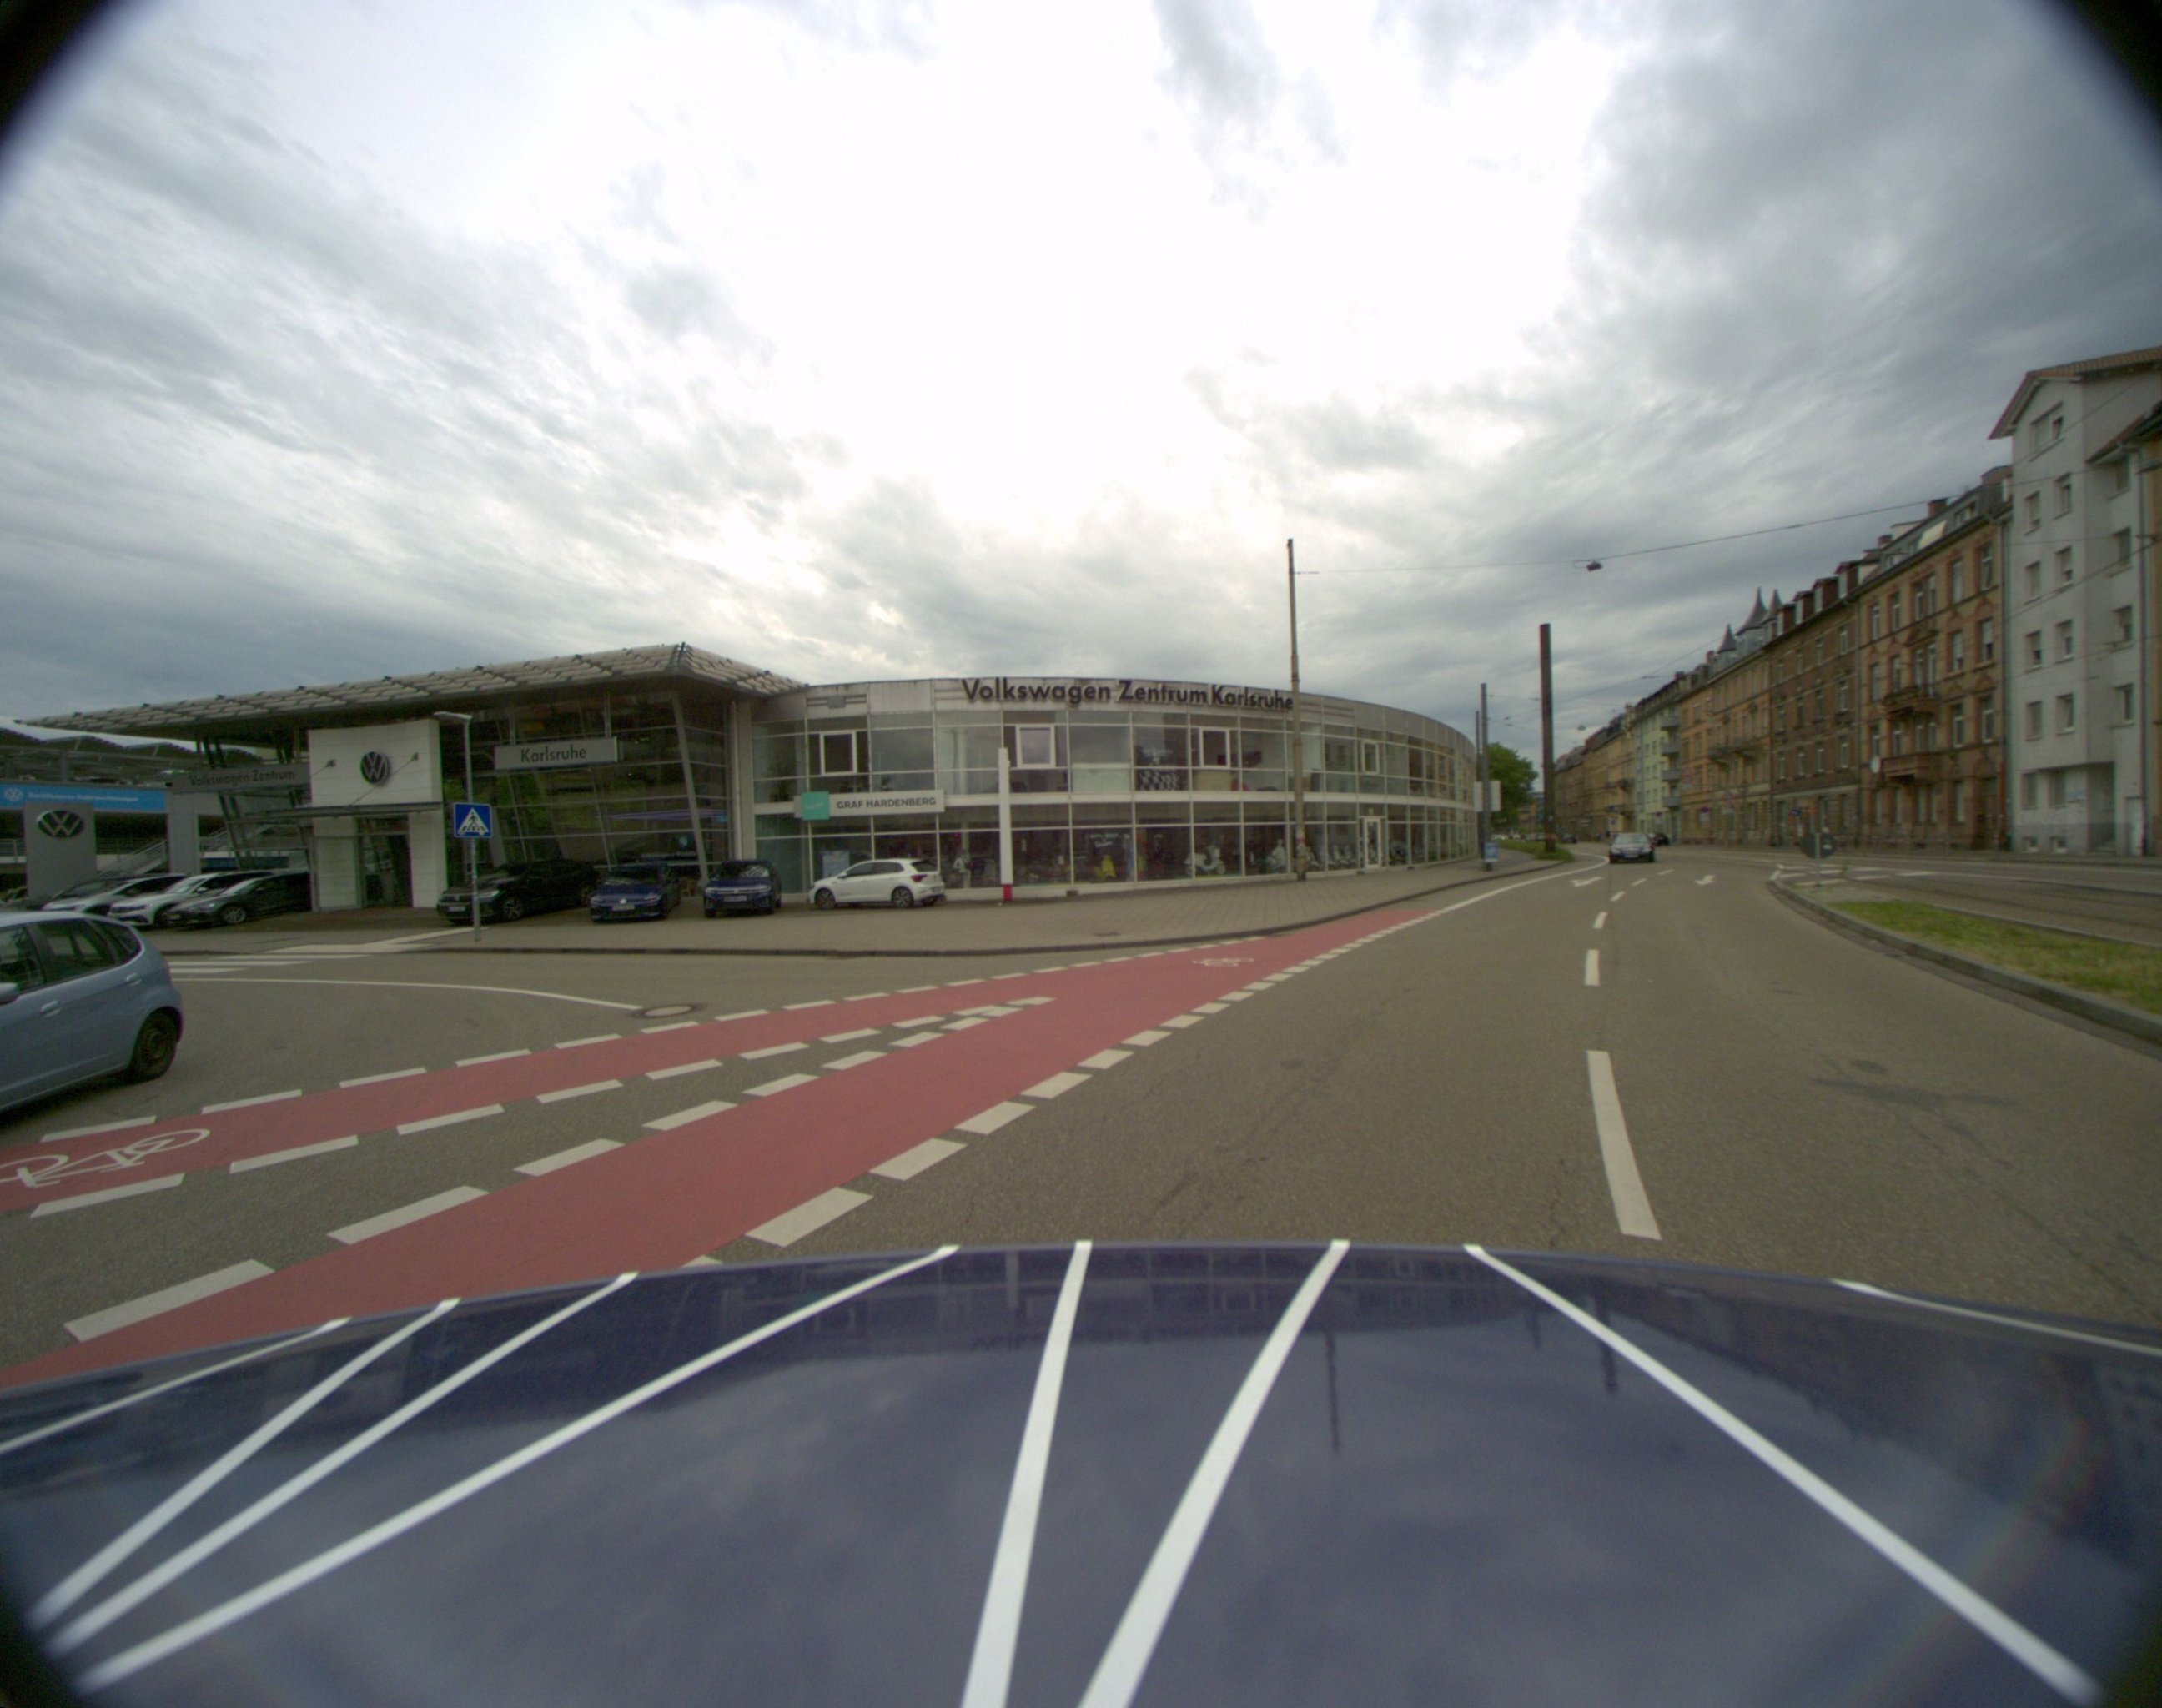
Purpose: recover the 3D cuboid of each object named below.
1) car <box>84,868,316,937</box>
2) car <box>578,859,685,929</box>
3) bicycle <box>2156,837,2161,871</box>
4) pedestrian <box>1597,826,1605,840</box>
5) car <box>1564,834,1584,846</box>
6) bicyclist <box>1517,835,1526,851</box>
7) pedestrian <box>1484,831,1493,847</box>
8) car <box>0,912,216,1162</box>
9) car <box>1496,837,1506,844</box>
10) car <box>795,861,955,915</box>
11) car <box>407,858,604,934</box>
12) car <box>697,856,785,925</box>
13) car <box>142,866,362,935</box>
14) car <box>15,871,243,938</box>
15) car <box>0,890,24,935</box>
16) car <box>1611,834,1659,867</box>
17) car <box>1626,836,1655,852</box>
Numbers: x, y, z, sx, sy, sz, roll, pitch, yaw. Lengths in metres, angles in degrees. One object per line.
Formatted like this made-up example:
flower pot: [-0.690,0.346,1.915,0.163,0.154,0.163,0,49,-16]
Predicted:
car: [-30.127,1.587,26.264,1.858,1.690,4.777,-2,4,14]
car: [-12.759,1.047,21.842,1.860,1.496,4.329,-2,4,-21]
bicycle: [29.438,0.012,19.923,0.606,0.910,1.722,-2,1,22]
pedestrian: [74.333,-3.004,108.573,0.809,2.002,0.701,-1,1,27]
car: [65.365,-1.865,100.851,1.799,1.630,4.237,-1,1,27]
bicyclist: [49.366,-1.213,85.144,0.729,1.747,0.912,-1,1,32]
pedestrian: [46.933,-1.711,87.562,0.869,1.843,0.707,-1,1,27]
car: [-7.981,1.283,4.899,1.757,1.458,4.089,-2,1,-27]
car: [93.531,-3.043,169.377,1.799,1.630,4.237,-1,1,27]
car: [-6.141,1.004,22.707,4.254,1.444,1.785,-2,0,17]
car: [-16.748,1.136,22.470,1.858,1.624,4.509,-3,4,8]
car: [-9.717,0.963,22.008,1.903,1.554,4.211,-2,3,-19]
car: [-27.515,1.480,25.495,1.894,1.688,4.477,-2,4,13]
car: [-33.150,1.684,26.692,1.866,1.690,4.477,-2,4,14]
car: [-40.627,2.221,27.056,4.008,1.555,1.921,-3,2,12]
car: [26.372,-0.193,36.104,1.711,1.413,4.077,-1,1,38]
car: [56.295,-1.022,76.529,1.850,1.471,3.834,-1,1,29]
